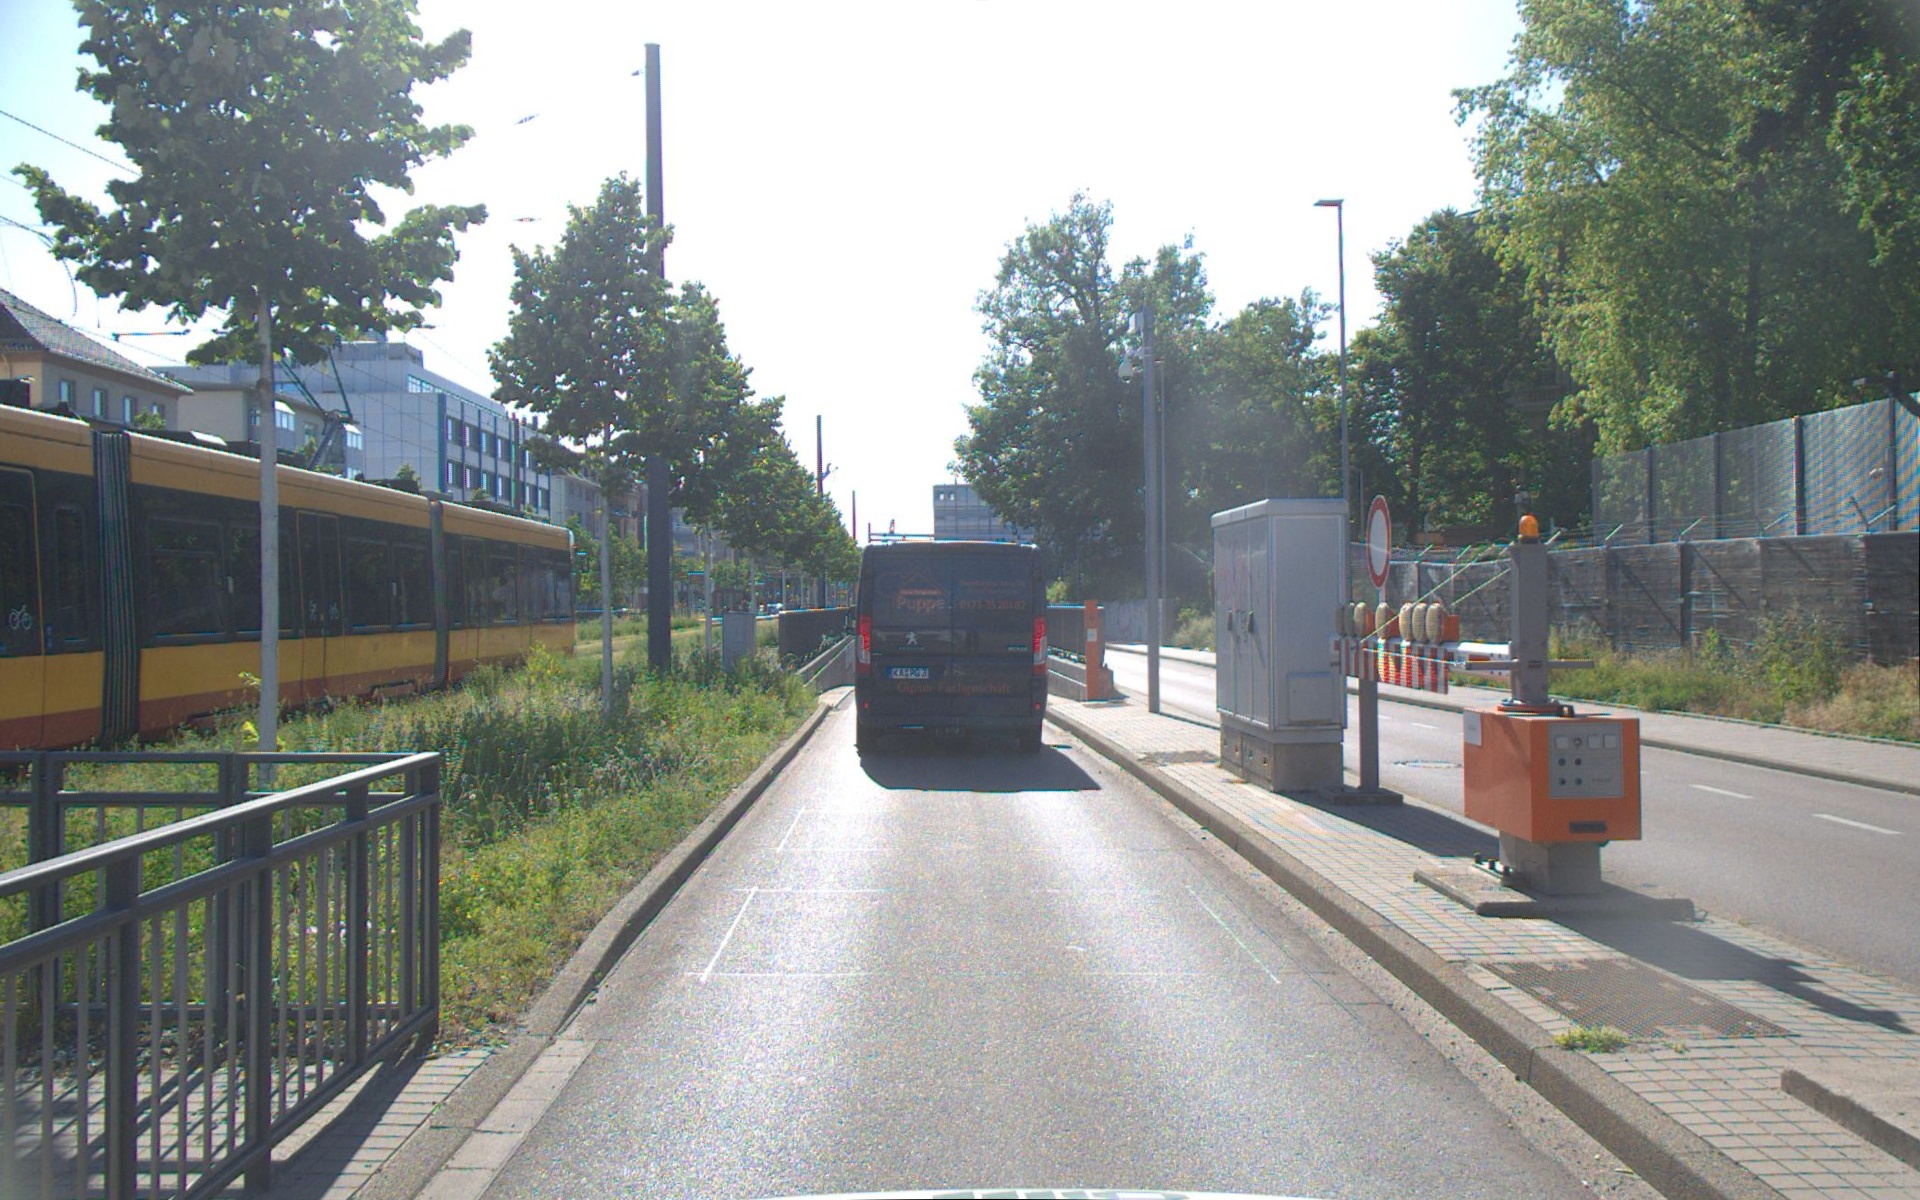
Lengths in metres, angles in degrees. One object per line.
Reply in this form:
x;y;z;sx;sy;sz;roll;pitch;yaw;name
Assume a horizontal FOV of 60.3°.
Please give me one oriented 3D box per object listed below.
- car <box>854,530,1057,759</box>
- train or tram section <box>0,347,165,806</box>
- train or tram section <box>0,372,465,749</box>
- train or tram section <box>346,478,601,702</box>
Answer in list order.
-0.109;0.454;18.608;2.040;2.288;3.998;0;0;-2;car
-8.622;-0.215;9.352;1.953;3.733;14.145;0;0;-2;train or tram section
-9.100;-0.363;22.019;1.953;3.733;11.311;0;0;-2;train or tram section
-9.385;-0.139;33.468;1.953;3.733;11.680;0;0;-1;train or tram section
